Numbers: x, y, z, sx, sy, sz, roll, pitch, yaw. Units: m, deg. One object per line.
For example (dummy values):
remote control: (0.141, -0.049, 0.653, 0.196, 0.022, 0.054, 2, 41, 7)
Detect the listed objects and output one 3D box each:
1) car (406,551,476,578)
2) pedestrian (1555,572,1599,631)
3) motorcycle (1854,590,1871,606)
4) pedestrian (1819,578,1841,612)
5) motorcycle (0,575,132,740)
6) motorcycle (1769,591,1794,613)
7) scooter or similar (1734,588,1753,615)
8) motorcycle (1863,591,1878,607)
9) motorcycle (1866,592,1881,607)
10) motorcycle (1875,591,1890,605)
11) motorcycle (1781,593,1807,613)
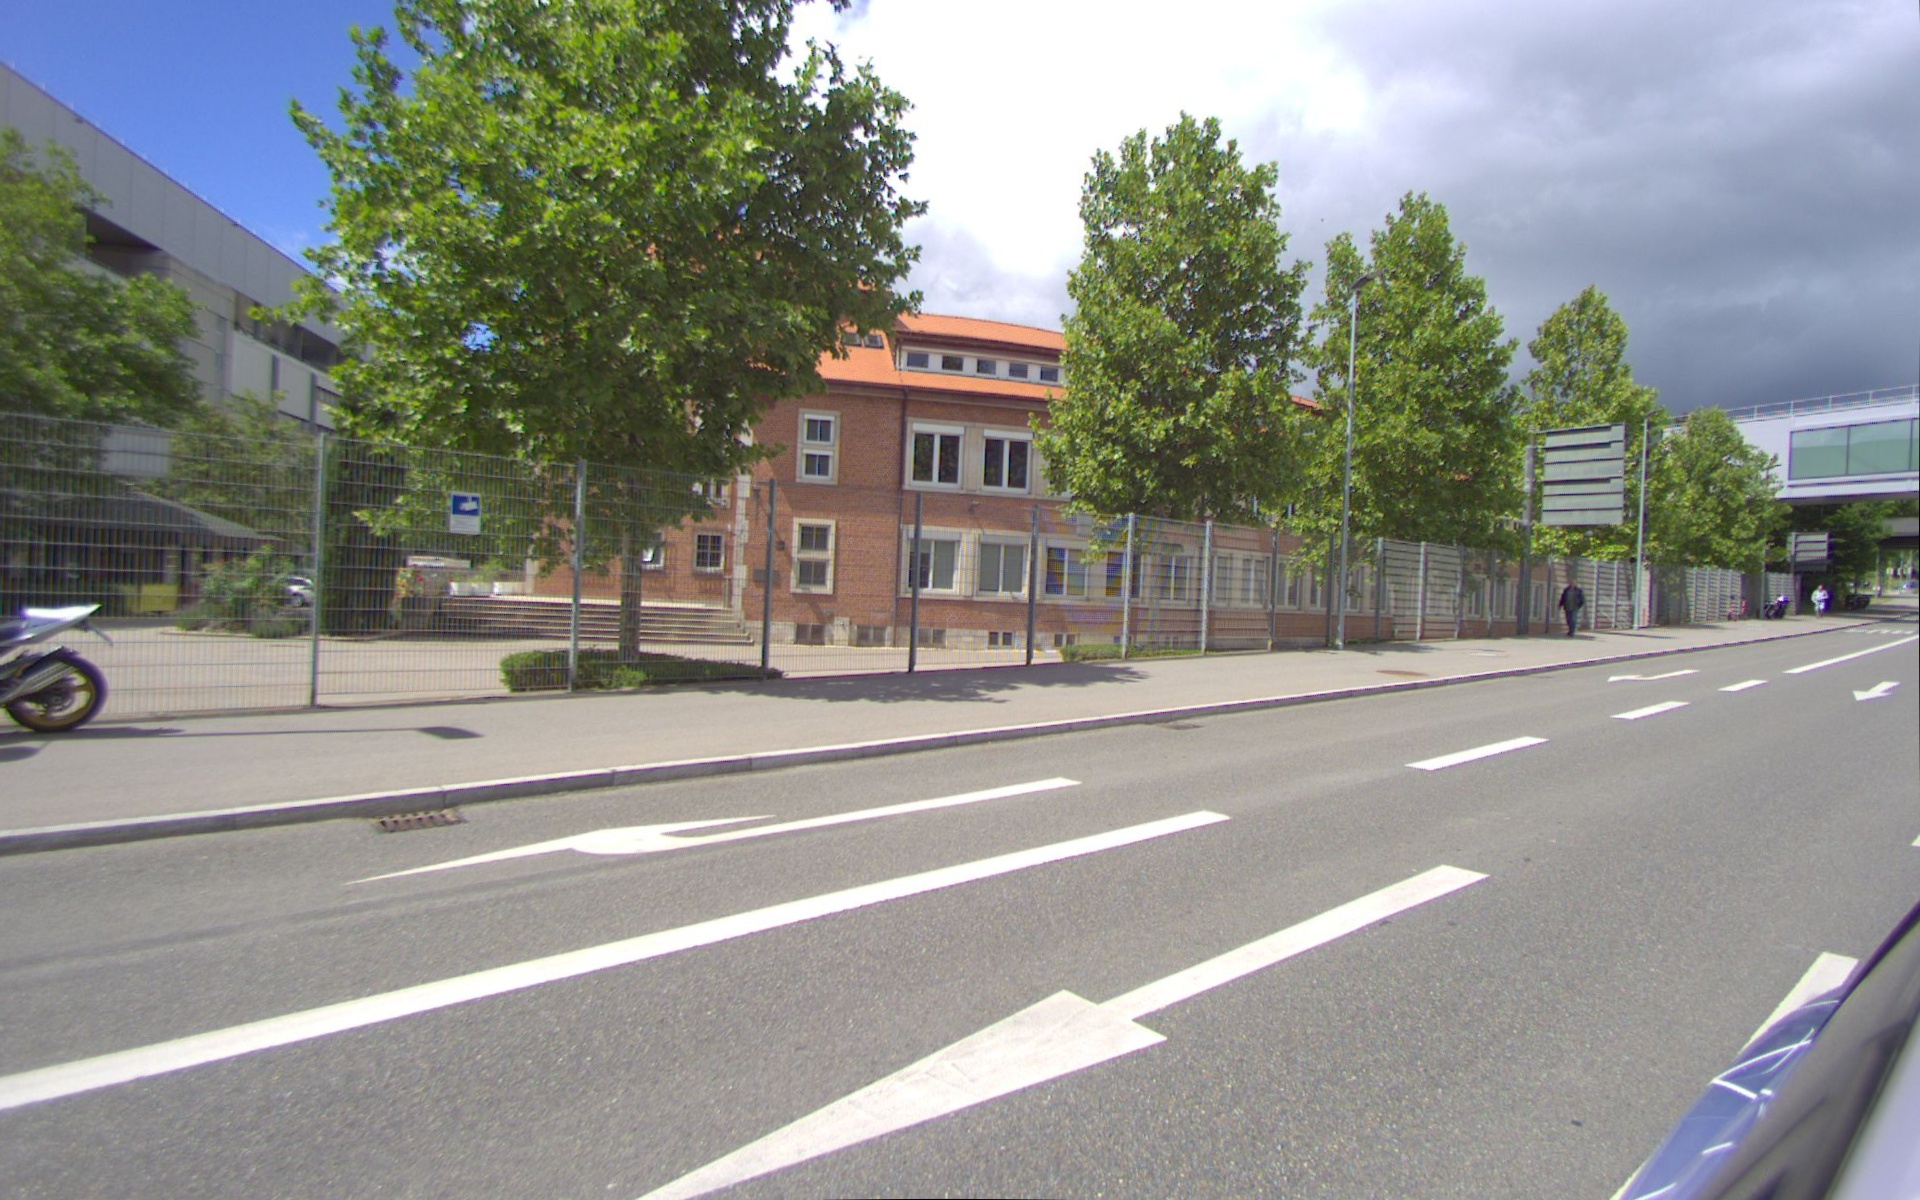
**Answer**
car: (-35.908, -2.467, 70.158, 3.916, 1.805, 2.004, -1, 1, -13)
pedestrian: (19.395, 0.029, 31.818, 0.924, 1.764, 0.879, 0, 3, -42)
motorcycle: (68.453, -0.136, 76.723, 2.076, 1.168, 0.679, 0, 2, -41)
pedestrian: (51.289, -0.299, 59.677, 1.078, 1.911, 0.790, 0, 2, -43)
motorcycle: (-7.392, 0.411, 7.321, 0.693, 1.172, 2.113, 4, 3, 44)
motorcycle: (44.518, 0.102, 54.814, 2.209, 1.077, 0.669, 0, 4, -43)
scooter or similar: (39.004, 0.076, 50.381, 1.314, 1.310, 0.492, 0, 3, -42)
motorcycle: (70.303, -0.105, 78.119, 2.124, 1.157, 0.679, -1, 2, -43)
motorcycle: (72.088, -0.050, 79.864, 2.004, 1.096, 0.679, -1, 2, -43)
motorcycle: (74.006, -0.138, 81.192, 2.144, 1.096, 0.679, -1, 2, -43)
motorcycle: (46.845, 0.162, 56.825, 2.467, 1.077, 0.709, -1, 4, -43)
